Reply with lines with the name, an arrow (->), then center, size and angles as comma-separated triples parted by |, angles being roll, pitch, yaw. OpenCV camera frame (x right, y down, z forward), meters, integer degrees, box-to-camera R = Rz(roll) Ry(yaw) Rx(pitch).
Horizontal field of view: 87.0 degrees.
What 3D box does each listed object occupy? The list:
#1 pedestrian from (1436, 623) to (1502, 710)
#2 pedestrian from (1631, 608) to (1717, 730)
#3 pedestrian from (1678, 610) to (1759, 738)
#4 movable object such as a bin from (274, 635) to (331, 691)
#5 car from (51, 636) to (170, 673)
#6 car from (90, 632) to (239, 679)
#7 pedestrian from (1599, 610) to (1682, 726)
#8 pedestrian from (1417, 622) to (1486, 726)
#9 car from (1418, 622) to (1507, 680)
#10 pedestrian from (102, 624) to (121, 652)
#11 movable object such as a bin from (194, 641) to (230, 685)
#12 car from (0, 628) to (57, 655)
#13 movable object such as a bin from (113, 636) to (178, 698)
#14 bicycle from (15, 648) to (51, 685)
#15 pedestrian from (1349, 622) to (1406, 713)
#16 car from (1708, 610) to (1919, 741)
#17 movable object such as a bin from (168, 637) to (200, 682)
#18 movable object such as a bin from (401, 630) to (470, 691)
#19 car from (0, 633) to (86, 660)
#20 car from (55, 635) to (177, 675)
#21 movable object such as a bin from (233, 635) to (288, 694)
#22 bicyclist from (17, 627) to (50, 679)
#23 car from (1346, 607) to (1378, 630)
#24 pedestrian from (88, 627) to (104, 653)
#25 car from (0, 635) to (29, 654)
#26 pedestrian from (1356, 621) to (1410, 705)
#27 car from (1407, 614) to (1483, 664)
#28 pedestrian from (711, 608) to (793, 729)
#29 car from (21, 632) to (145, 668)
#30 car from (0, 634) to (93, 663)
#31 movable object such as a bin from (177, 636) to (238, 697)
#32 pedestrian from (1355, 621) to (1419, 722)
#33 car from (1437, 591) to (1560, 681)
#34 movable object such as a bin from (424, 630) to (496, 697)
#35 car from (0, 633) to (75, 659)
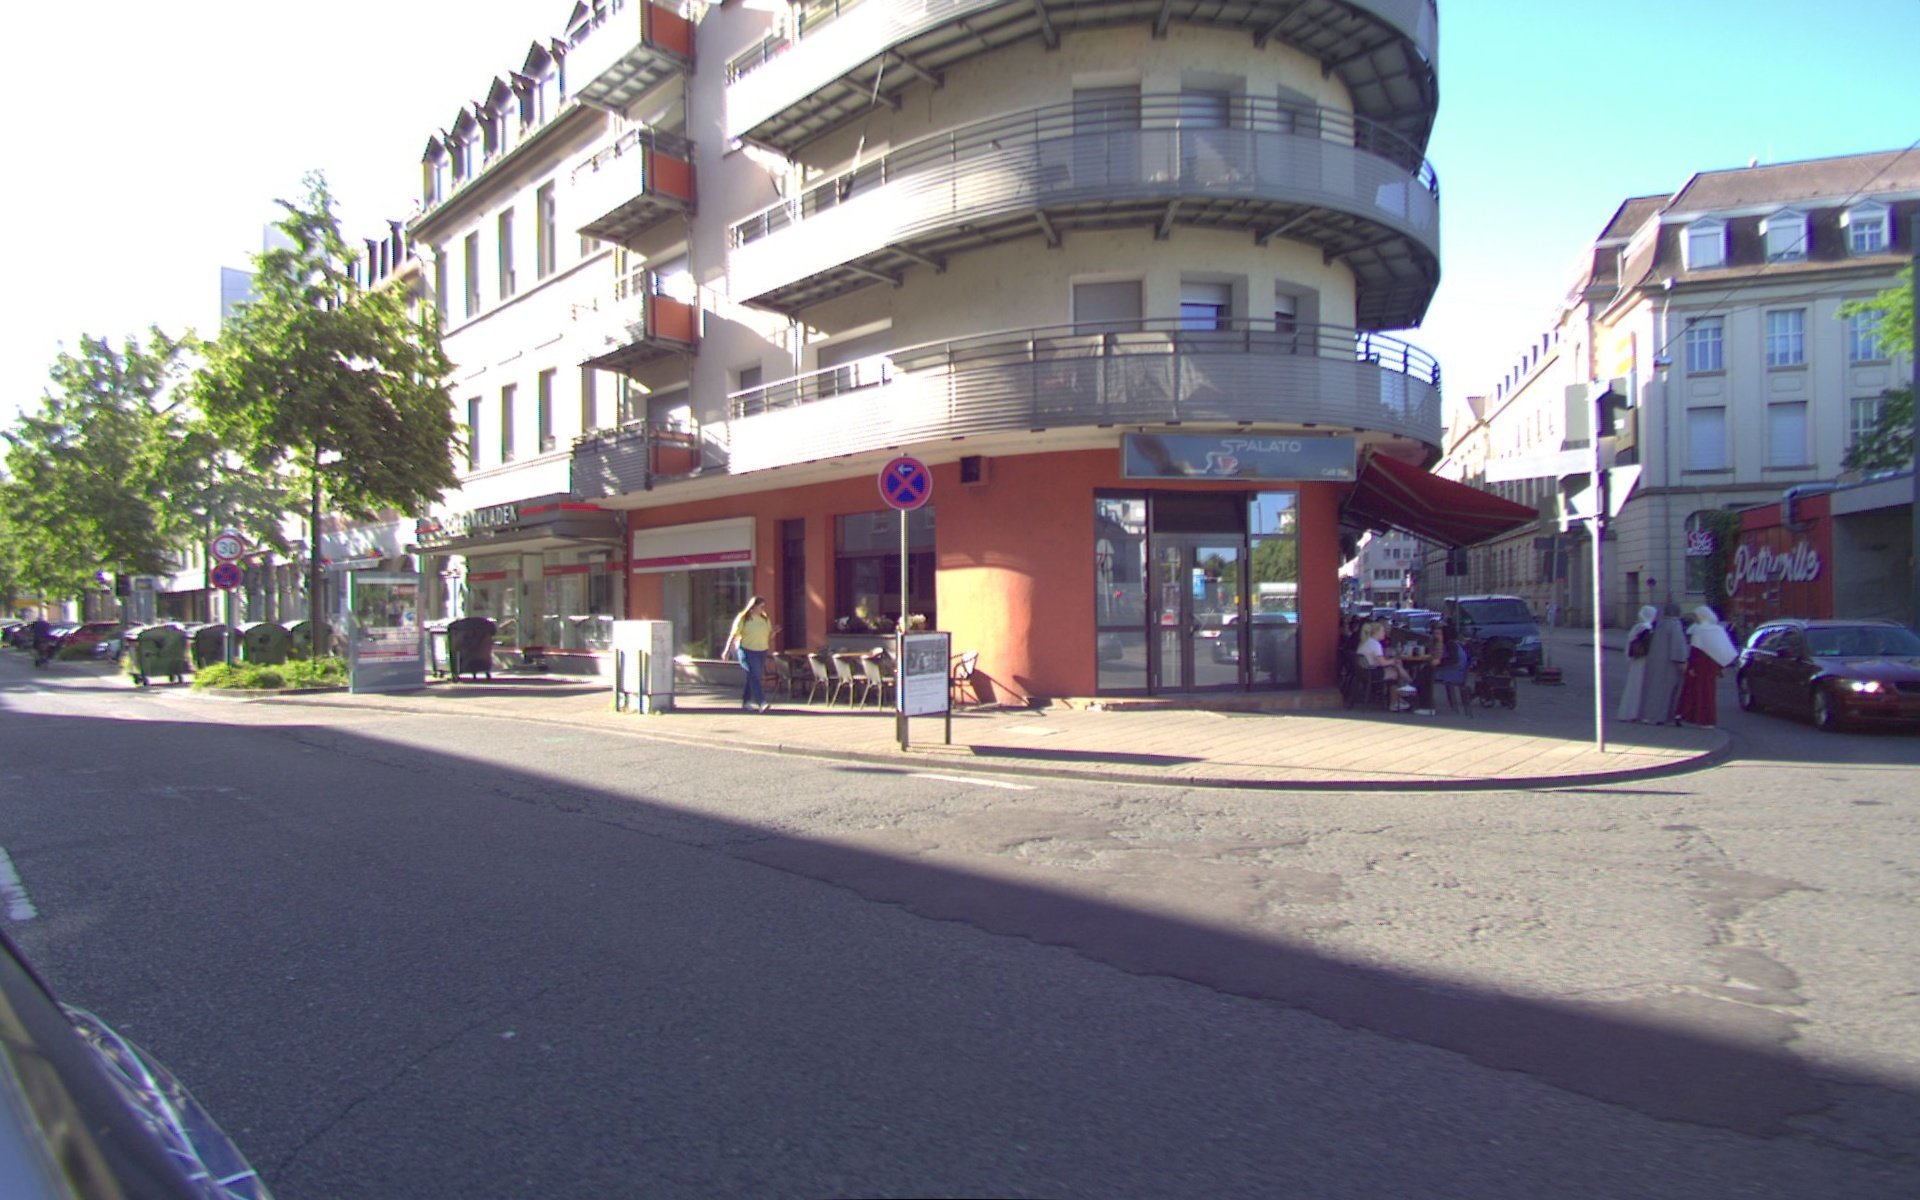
pedestrian -> 8.053, 1.040, 16.021 | 0.689, 1.350, 0.576 | 0, -2, -10
pedestrian -> 9.310, 0.890, 13.214 | 0.678, 1.547, 0.542 | -1, -2, 2
pedestrian -> 9.457, 0.911, 12.635 | 0.545, 1.547, 0.542 | -1, -2, 1
movable object such as a bin -> -17.881, 1.692, 27.506 | 1.143, 1.483, 1.031 | -2, -2, 42
car -> -36.937, 2.337, 44.056 | 1.790, 1.439, 3.798 | -2, -1, 44
car -> -29.290, 2.001, 37.334 | 1.740, 1.479, 4.155 | -2, -1, 45
pedestrian -> 9.331, 0.919, 13.894 | 0.691, 1.547, 0.574 | -1, -2, 2
pedestrian -> 6.611, 0.981, 13.633 | 0.693, 1.350, 0.572 | -1, -2, 14
car -> 15.477, 1.542, 31.388 | 1.895, 1.672, 4.156 | -1, -2, 19
pedestrian -> -56.427, 2.525, 67.322 | 0.763, 1.779, 0.766 | -2, 3, 41
movable object such as a bin -> -23.536, 1.968, 31.853 | 0.805, 1.351, 0.746 | -2, -2, 42
car -> -68.075, 3.005, 73.106 | 2.039, 1.850, 4.060 | -2, -1, 43
movable object such as a bin -> -20.287, 1.642, 25.200 | 1.452, 1.483, 1.031 | -2, -2, 42
bicycle -> -30.535, 2.165, 33.335 | 1.967, 1.155, 0.698 | -2, -2, 43
pedestrian -> 6.329, 1.010, 15.361 | 0.693, 1.350, 0.572 | -1, -2, 14
car -> 12.297, 0.964, 13.893 | 1.906, 1.527, 4.705 | -1, -2, 19
movable object such as a bin -> -24.019, 1.826, 31.316 | 0.805, 1.351, 0.627 | -2, -2, 42
movable object such as a bin -> -12.183, 1.374, 23.515 | 1.314, 1.355, 1.031 | -2, -2, 42
car -> -59.328, 2.950, 65.246 | 1.980, 1.582, 4.318 | -2, -1, 43
car -> -35.002, 2.239, 42.023 | 1.739, 1.479, 3.707 | -2, -1, 42
movable object such as a bin -> -18.419, 1.676, 26.655 | 1.143, 1.483, 0.953 | -2, -2, 42
bicyclist -> -30.534, 1.740, 33.341 | 1.036, 1.665, 0.689 | -2, -2, 43
car -> 29.221, 1.397, 73.720 | 1.895, 1.585, 4.156 | -1, -2, 19
pedestrian -> -56.975, 2.646, 66.729 | 0.726, 1.638, 0.559 | -2, 3, 41
car -> -77.701, 3.629, 81.572 | 1.709, 1.475, 3.740 | -2, -1, 40
pedestrian -> 6.943, 1.028, 16.639 | 0.693, 1.350, 0.572 | -1, -2, 14
car -> 17.089, 1.374, 35.838 | 1.895, 1.672, 4.156 | -1, -2, 19
pedestrian -> -3.007, 0.959, 14.612 | 1.036, 1.672, 0.657 | -2, -2, 42
car -> -43.358, 2.450, 50.113 | 1.789, 1.469, 4.447 | -2, 0, 40
car -> -51.616, 2.728, 57.169 | 1.779, 1.470, 3.742 | -2, -1, 40
movable object such as a bin -> -19.258, 1.679, 25.904 | 1.143, 1.483, 1.031 | -2, -2, 42
pedestrian -> 5.858, 0.970, 13.907 | 0.693, 1.350, 0.572 | -1, -2, 14
car -> 13.566, 0.914, 25.754 | 2.019, 2.065, 4.324 | -1, -2, 19
movable object such as a bin -> -11.184, 1.396, 22.623 | 1.314, 1.415, 1.031 | -2, -2, 42
car -> -61.584, 3.069, 66.991 | 1.946, 1.582, 4.318 | -2, -1, 43
